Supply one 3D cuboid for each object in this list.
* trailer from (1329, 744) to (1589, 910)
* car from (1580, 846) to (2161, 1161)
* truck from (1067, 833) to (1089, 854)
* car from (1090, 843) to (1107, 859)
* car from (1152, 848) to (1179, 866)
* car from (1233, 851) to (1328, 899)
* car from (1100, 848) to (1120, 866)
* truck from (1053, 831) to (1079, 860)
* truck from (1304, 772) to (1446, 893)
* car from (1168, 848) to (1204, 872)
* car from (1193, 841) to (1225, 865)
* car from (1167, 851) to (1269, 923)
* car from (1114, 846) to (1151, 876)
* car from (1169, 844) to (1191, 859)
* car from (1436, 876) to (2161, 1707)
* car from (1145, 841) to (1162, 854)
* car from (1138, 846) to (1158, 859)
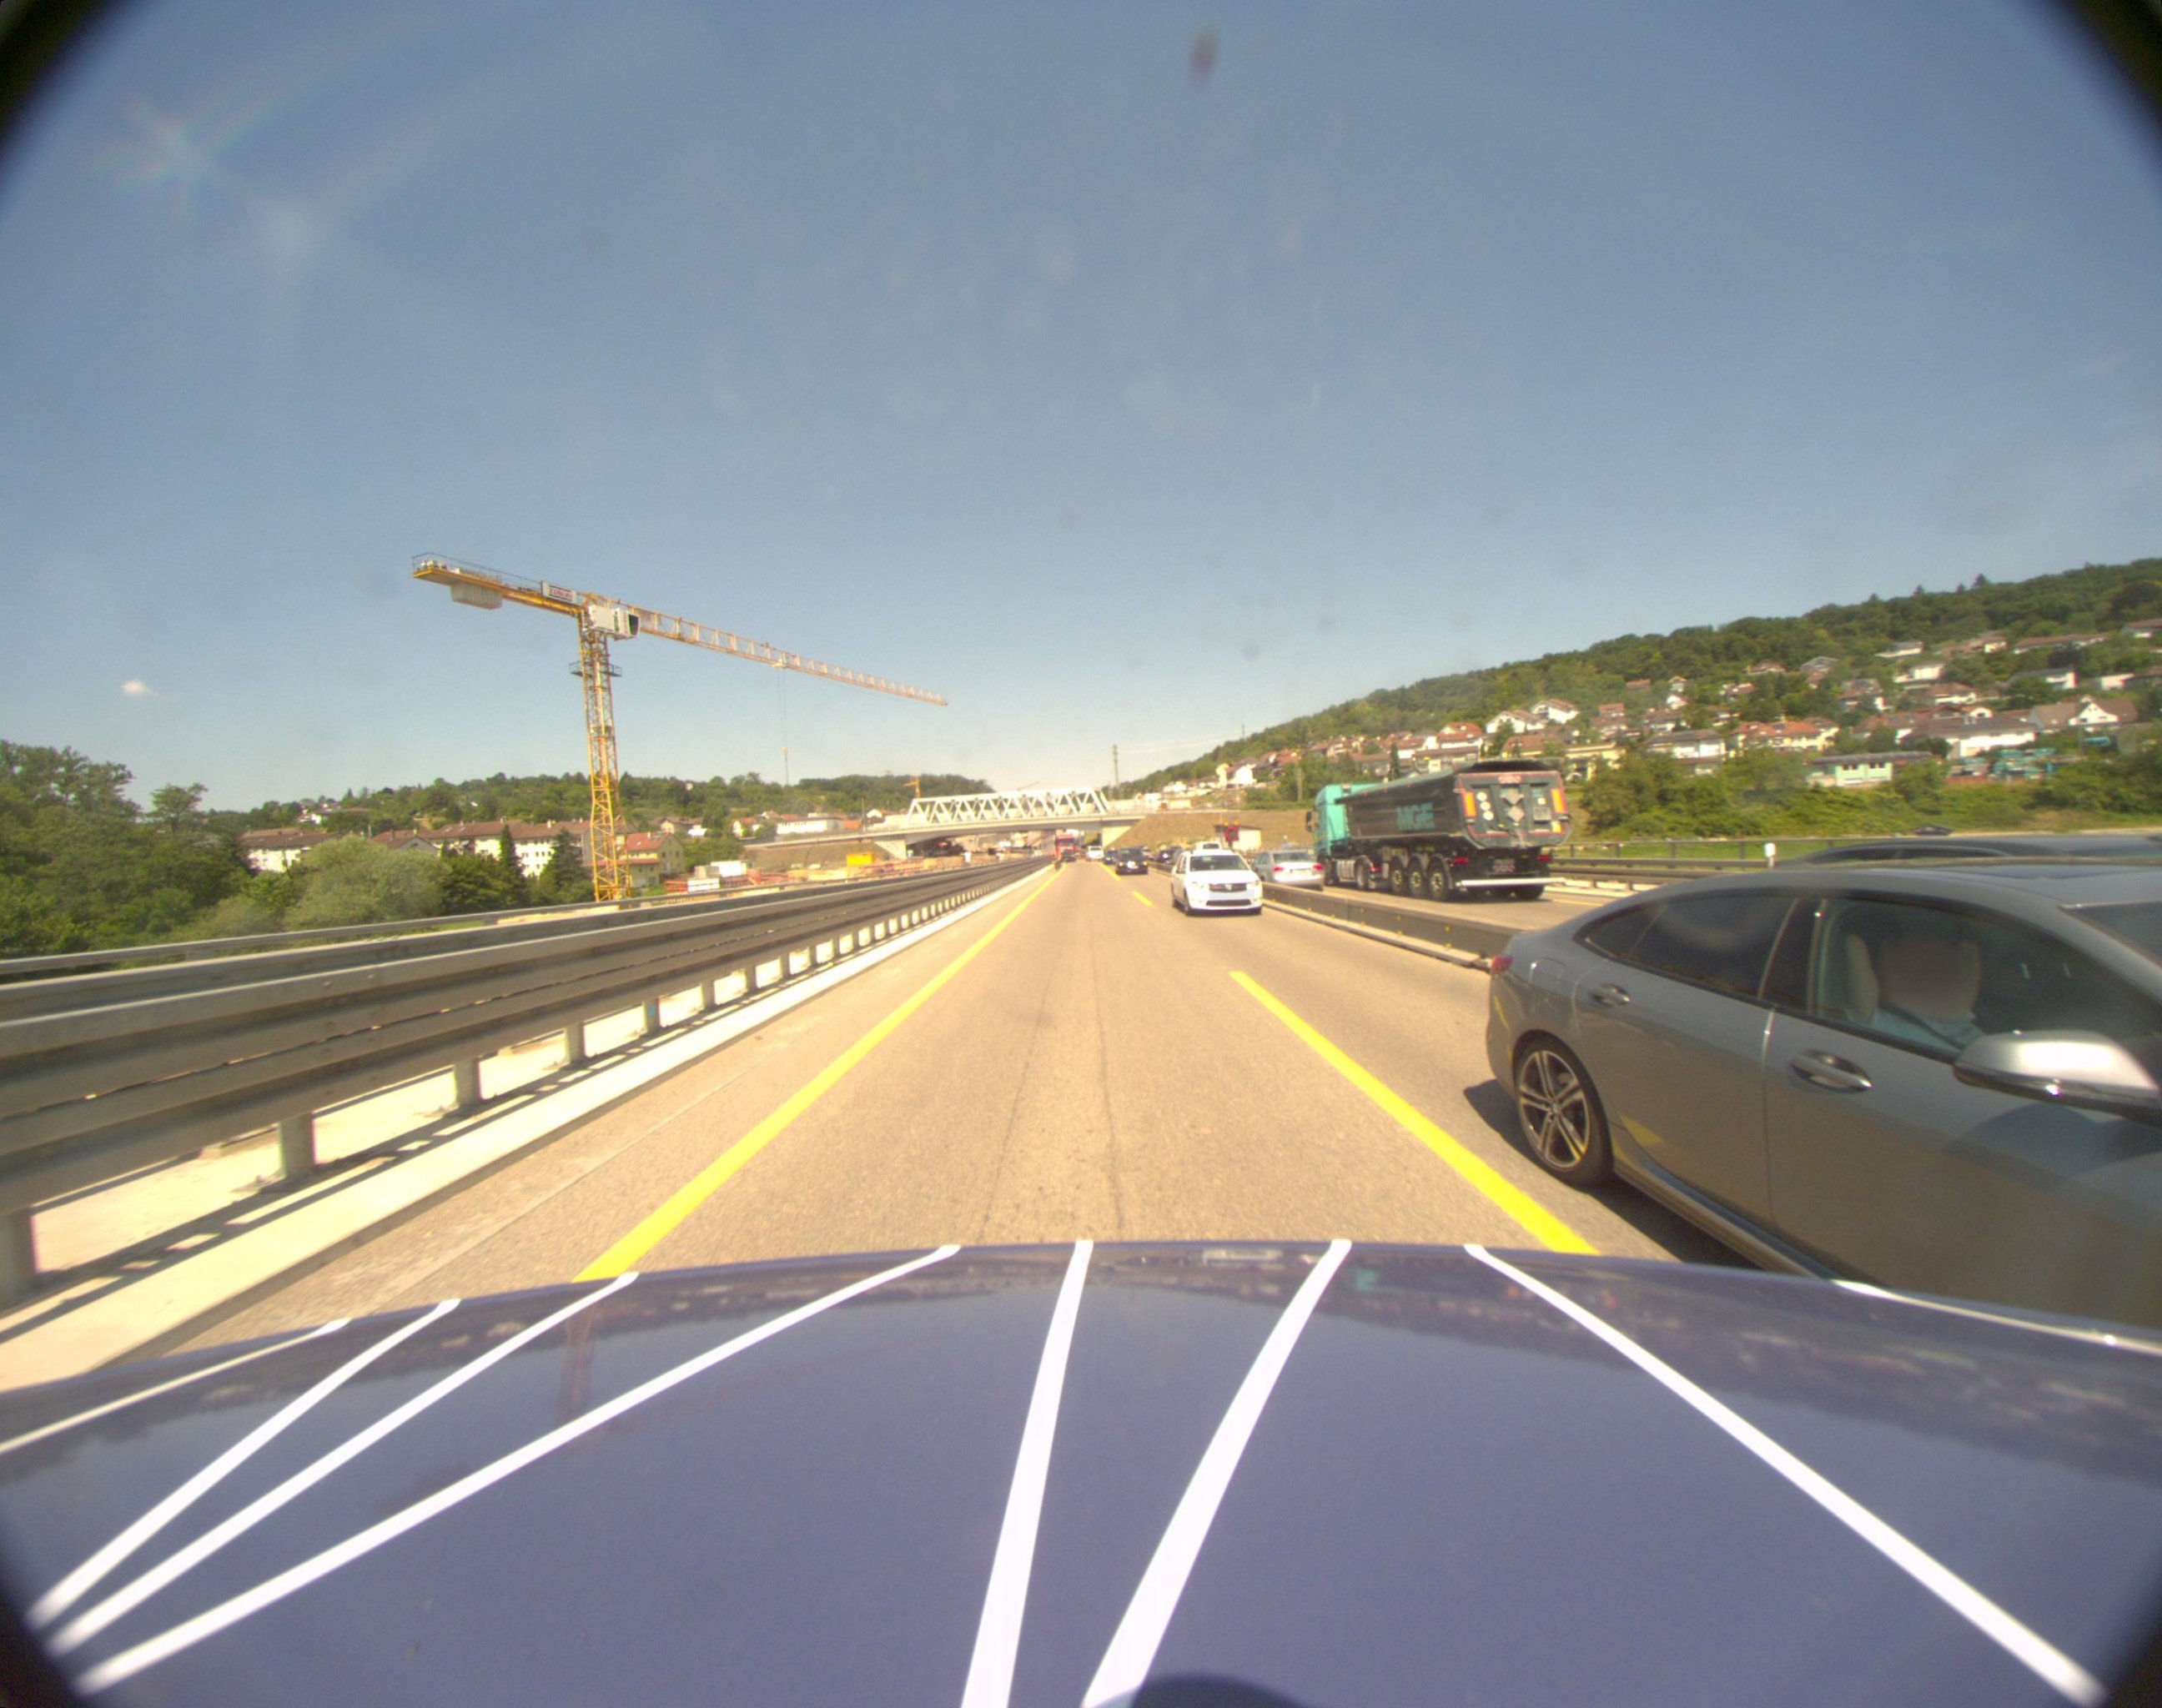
[{"bbox_3d":[9.991,-0.650,21.599,2.801,3.651,8.955,-2,1,0],"label":"trailer"},{"bbox_3d":[6.046,0.695,5.321,1.894,1.479,4.919,0,0,0],"label":"car"},{"bbox_3d":[-0.774,-2.290,162.705,3.269,4.112,17.322,-3,1,-5],"label":"truck"},{"bbox_3d":[2.179,-0.342,96.301,1.792,1.871,3.999,-4,0,-2],"label":"car"},{"bbox_3d":[6.634,0.241,60.148,1.683,1.384,4.155,0,0,1],"label":"car"},{"bbox_3d":[6.202,0.600,24.170,1.785,1.372,4.711,0,0,0],"label":"car"},{"bbox_3d":[2.784,0.250,73.465,1.791,1.578,4.000,-4,0,2],"label":"car"},{"bbox_3d":[-2.155,-1.229,103.864,2.704,3.705,8.501,-2,1,-6],"label":"truck"},{"bbox_3d":[9.979,-0.710,26.408,2.804,3.701,5.373,-2,1,0],"label":"truck"},{"bbox_3d":[6.405,0.363,46.656,1.635,1.400,4.103,0,0,0],"label":"car"},{"bbox_3d":[10.430,-0.107,62.256,1.863,1.856,4.629,-1,0,1],"label":"car"},{"bbox_3d":[3.255,0.714,18.968,1.823,1.521,4.706,-2,0,2],"label":"car"},{"bbox_3d":[3.170,0.397,47.358,1.862,1.683,4.097,-4,0,0],"label":"car"},{"bbox_3d":[10.830,-0.270,83.604,1.818,1.560,3.999,-1,0,-1],"label":"car"},{"bbox_3d":[2.940,0.879,1.913,1.856,1.443,4.742,-2,0,0],"label":"car"},{"bbox_3d":[10.760,-0.964,113.430,1.928,1.922,4.938,-3,0,0],"label":"car"},{"bbox_3d":[7.198,-0.158,82.116,1.830,1.410,4.657,0,0,1],"label":"car"}]
